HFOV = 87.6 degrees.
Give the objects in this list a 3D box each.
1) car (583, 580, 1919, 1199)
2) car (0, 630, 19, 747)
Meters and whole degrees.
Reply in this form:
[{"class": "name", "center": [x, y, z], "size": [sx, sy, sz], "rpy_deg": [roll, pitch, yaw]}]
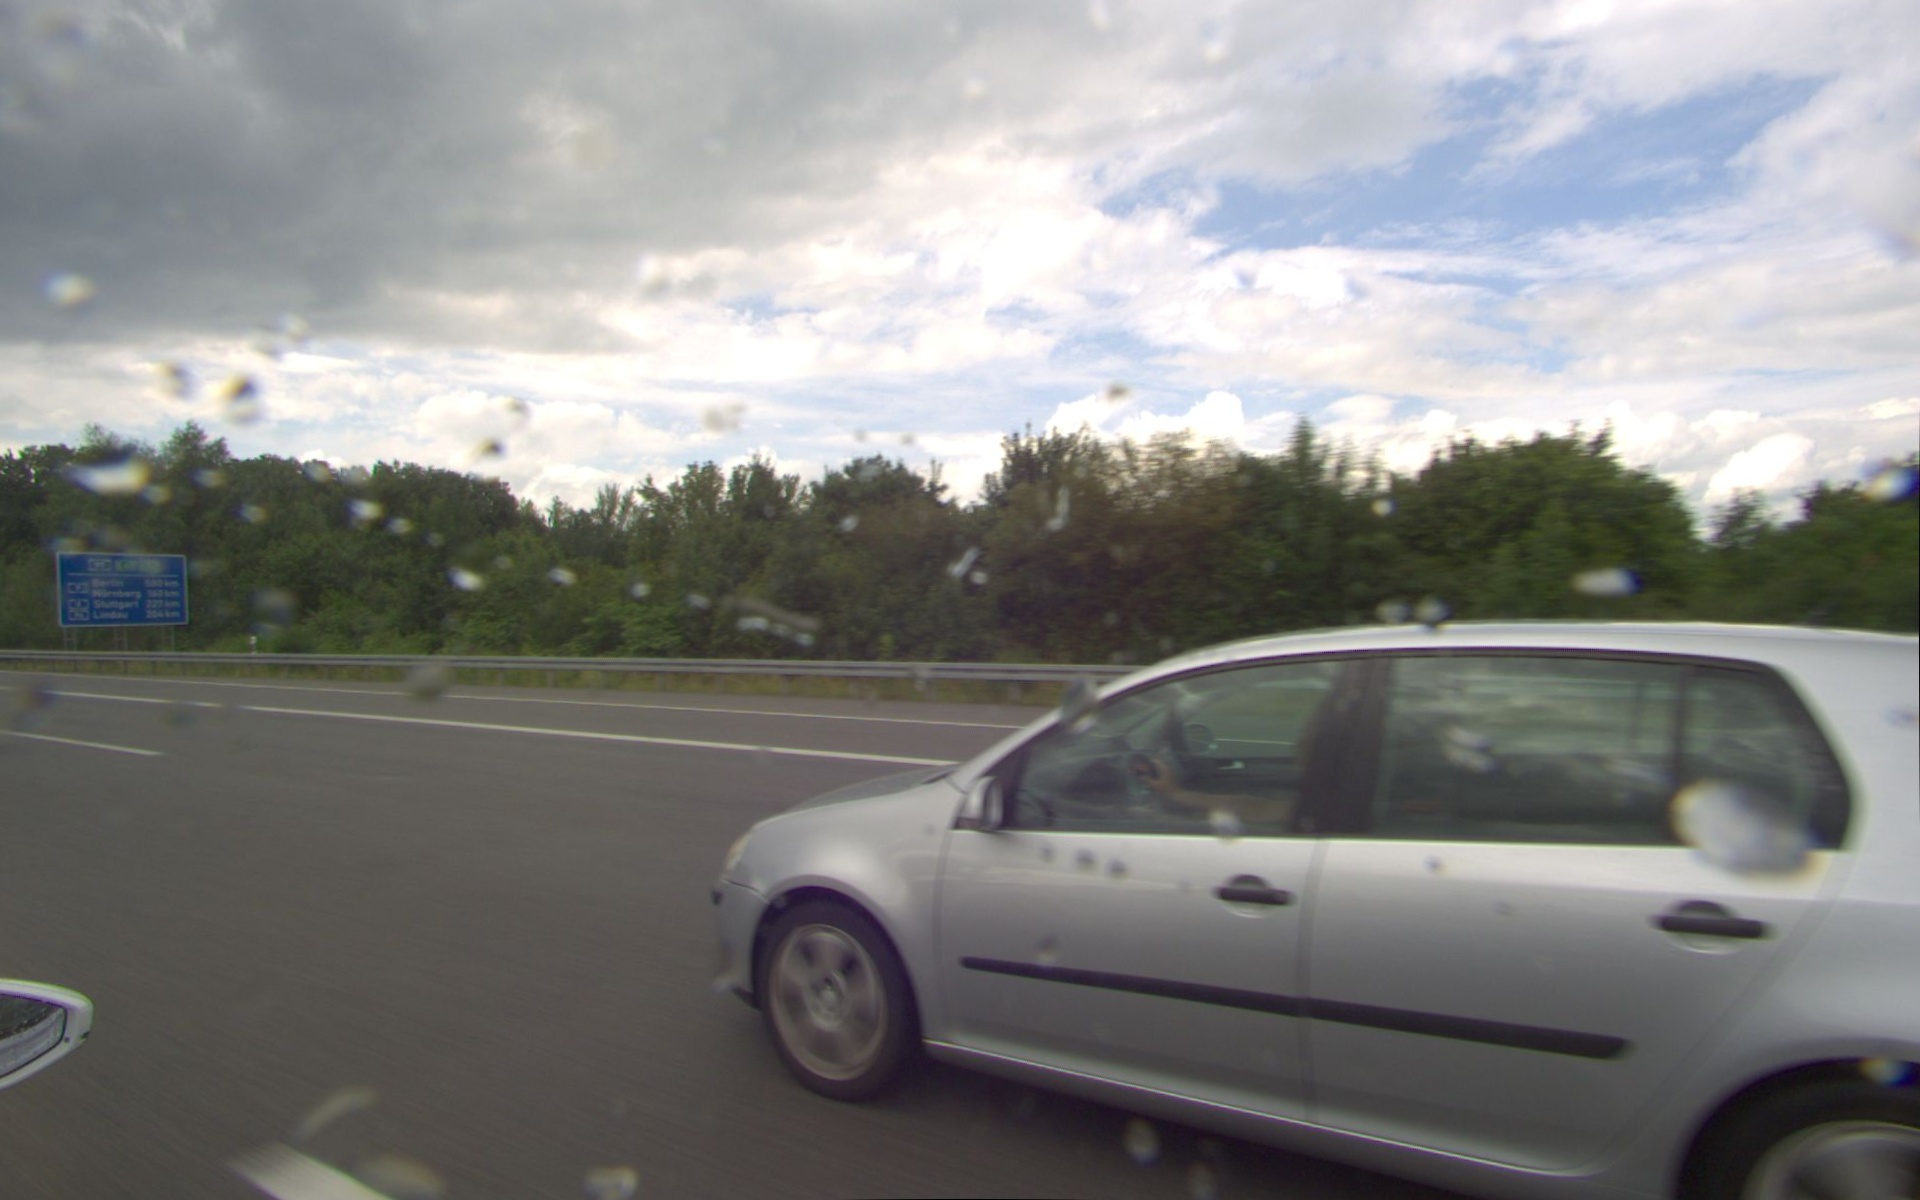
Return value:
[{"class": "car", "center": [0.781, 0.757, 3.356], "size": [3.979, 1.496, 1.792], "rpy_deg": [-1, -1, 32]}, {"class": "car", "center": [-13.861, 1.098, 12.694], "size": [4.222, 1.425, 1.881], "rpy_deg": [-1, -1, 33]}]
